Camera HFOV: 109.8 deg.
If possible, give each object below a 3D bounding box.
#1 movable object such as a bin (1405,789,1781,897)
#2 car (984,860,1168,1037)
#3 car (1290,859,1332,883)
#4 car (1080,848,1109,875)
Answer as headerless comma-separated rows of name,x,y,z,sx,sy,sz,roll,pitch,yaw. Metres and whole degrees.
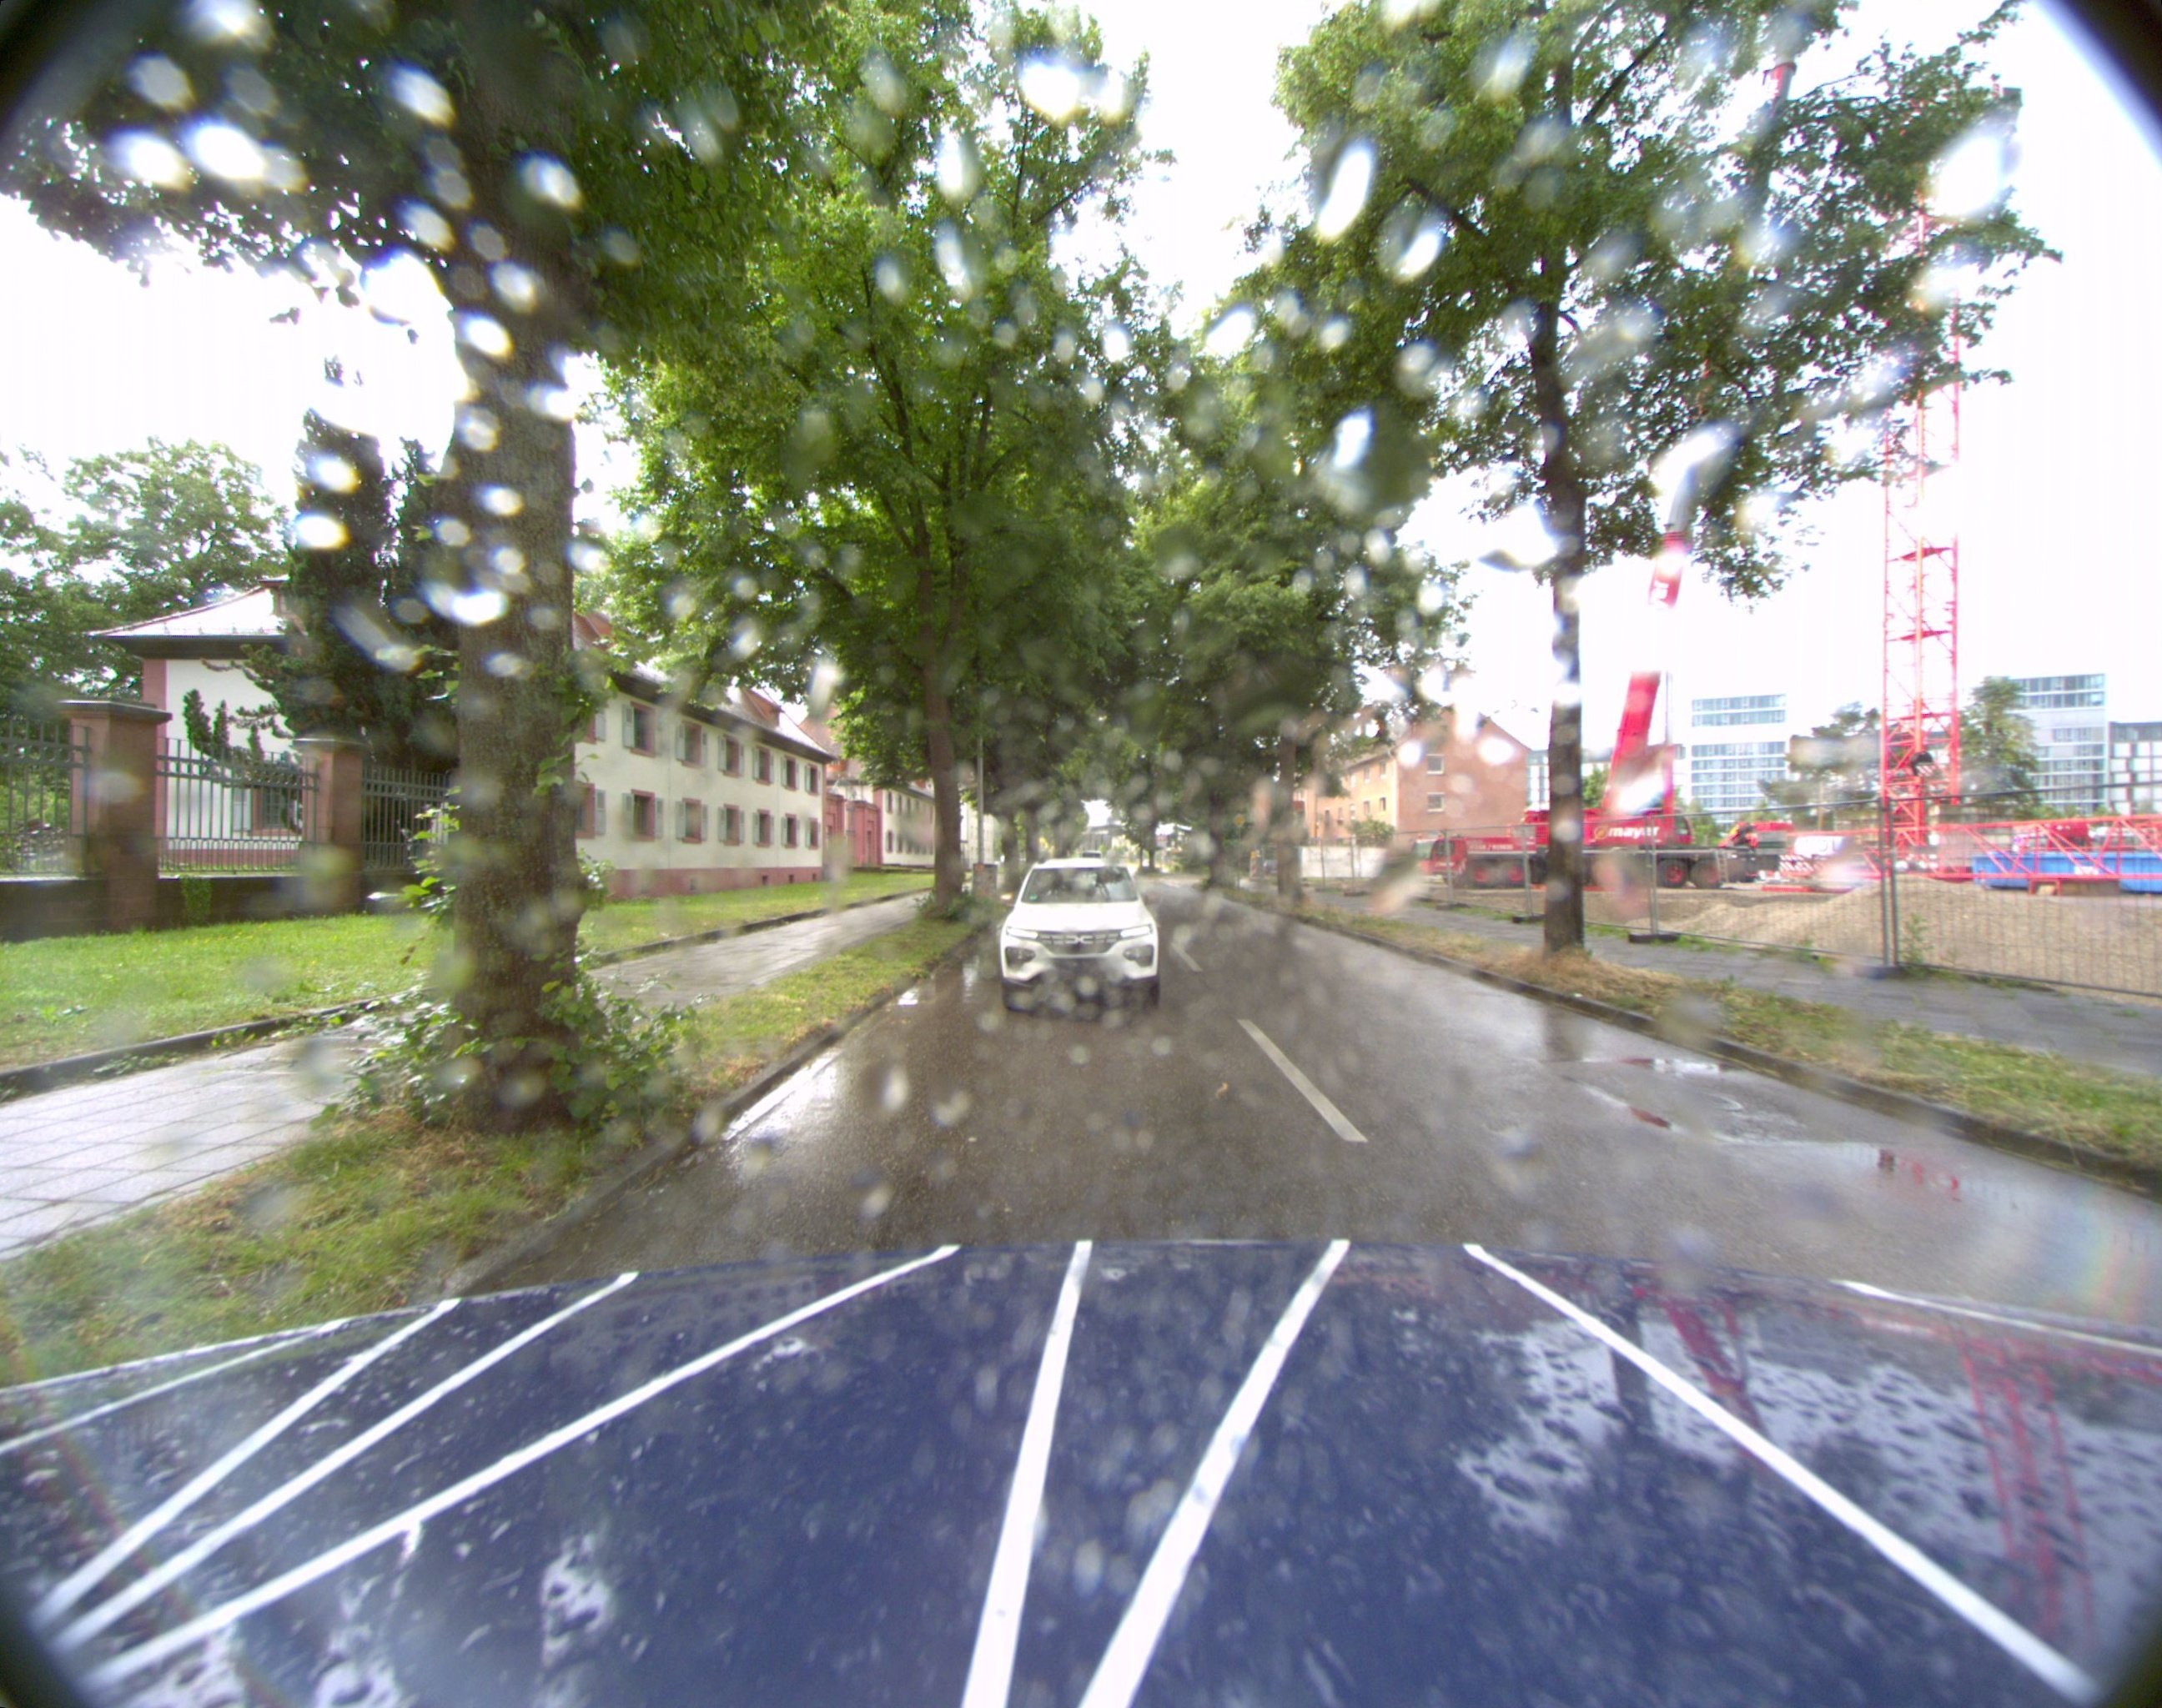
movable object such as a bin,24.784,-0.506,37.540,15.941,4.532,3.102,-2,1,4
car,-0.009,0.870,8.829,1.608,1.499,4.000,-2,0,1
car,16.465,1.212,54.636,1.693,1.521,3.999,-2,1,-1
car,1.059,0.542,61.916,2.107,1.990,5.433,-2,1,-1
